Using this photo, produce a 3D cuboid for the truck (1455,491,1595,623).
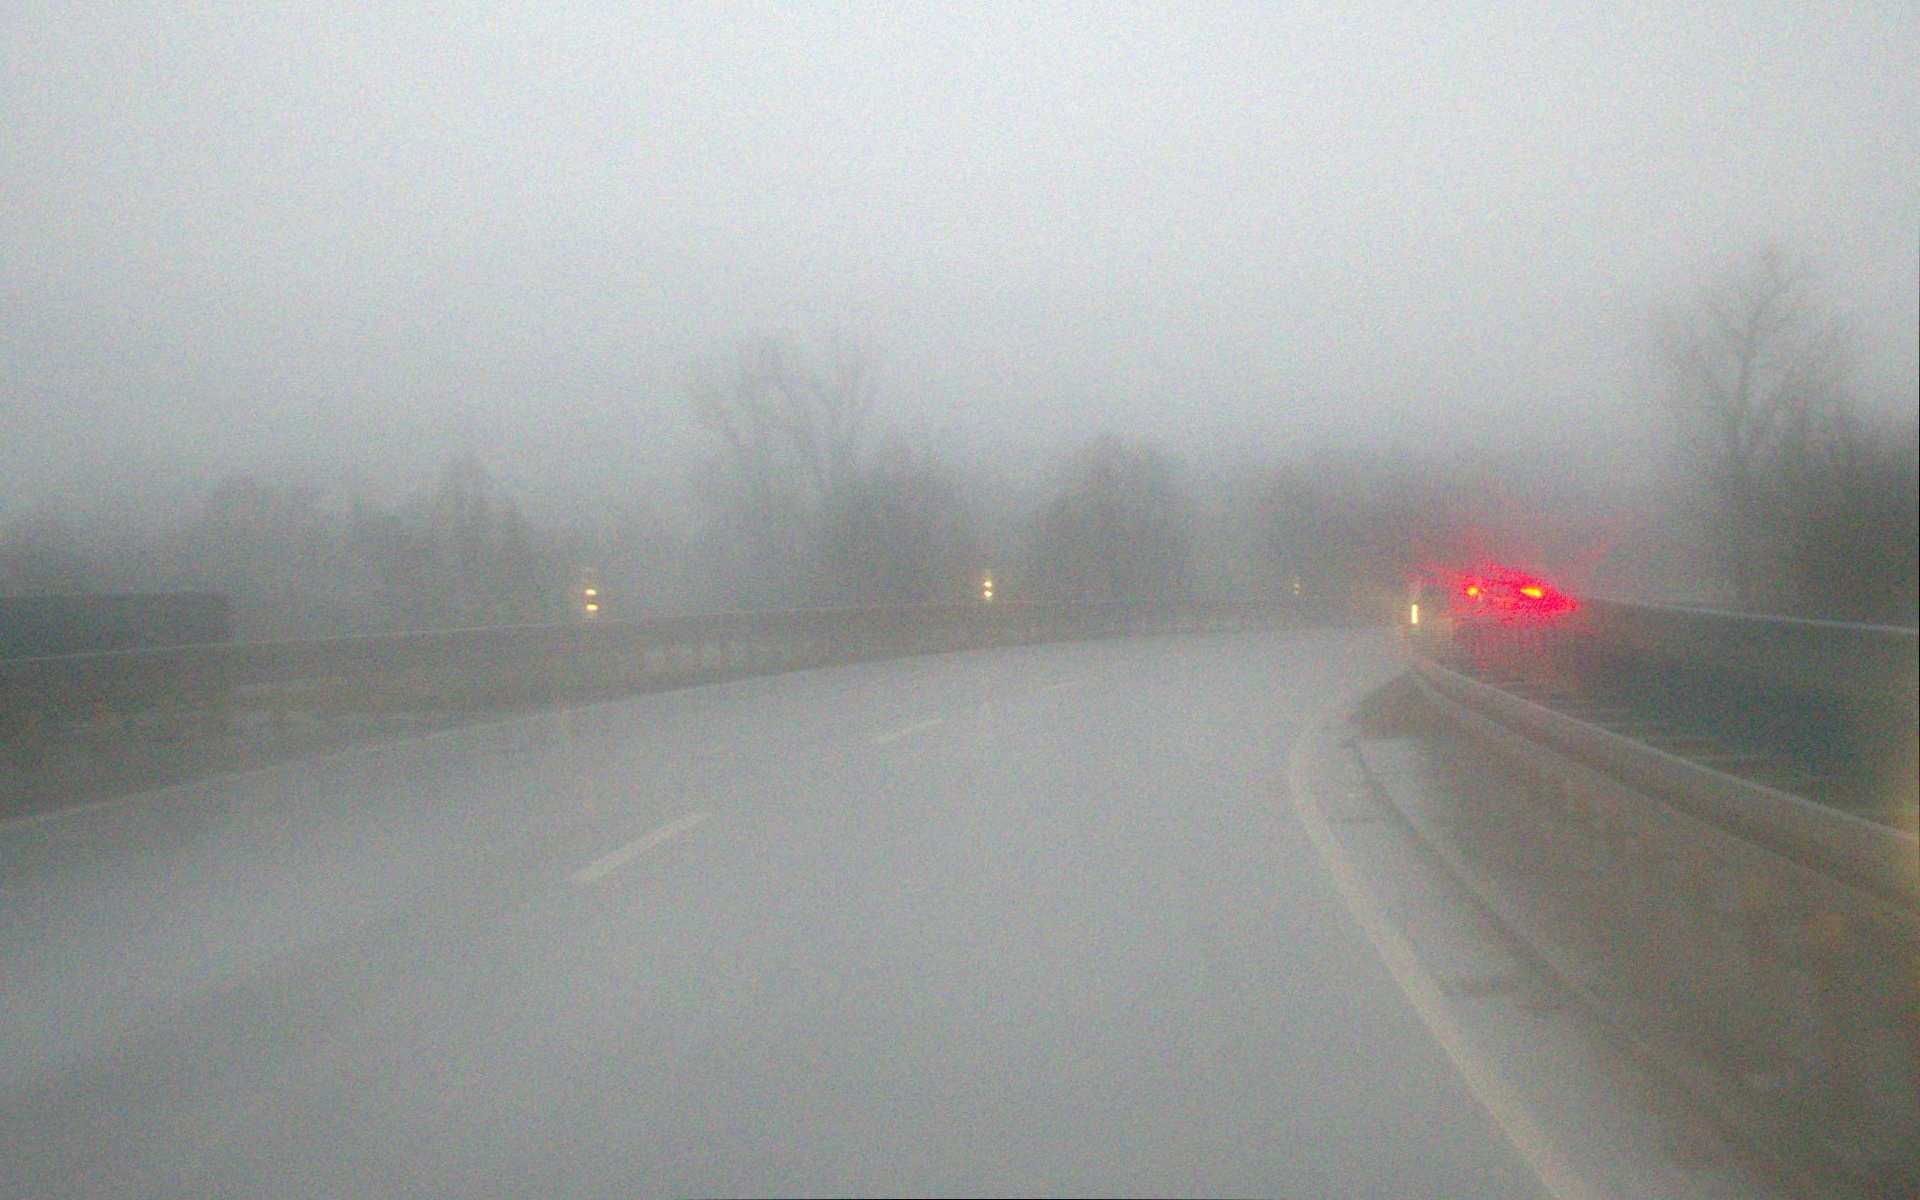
[{"bbox_3d":[13.004,-0.988,78.823,2.534,2.859,5.918,1,1,15],"label":"truck"}]
